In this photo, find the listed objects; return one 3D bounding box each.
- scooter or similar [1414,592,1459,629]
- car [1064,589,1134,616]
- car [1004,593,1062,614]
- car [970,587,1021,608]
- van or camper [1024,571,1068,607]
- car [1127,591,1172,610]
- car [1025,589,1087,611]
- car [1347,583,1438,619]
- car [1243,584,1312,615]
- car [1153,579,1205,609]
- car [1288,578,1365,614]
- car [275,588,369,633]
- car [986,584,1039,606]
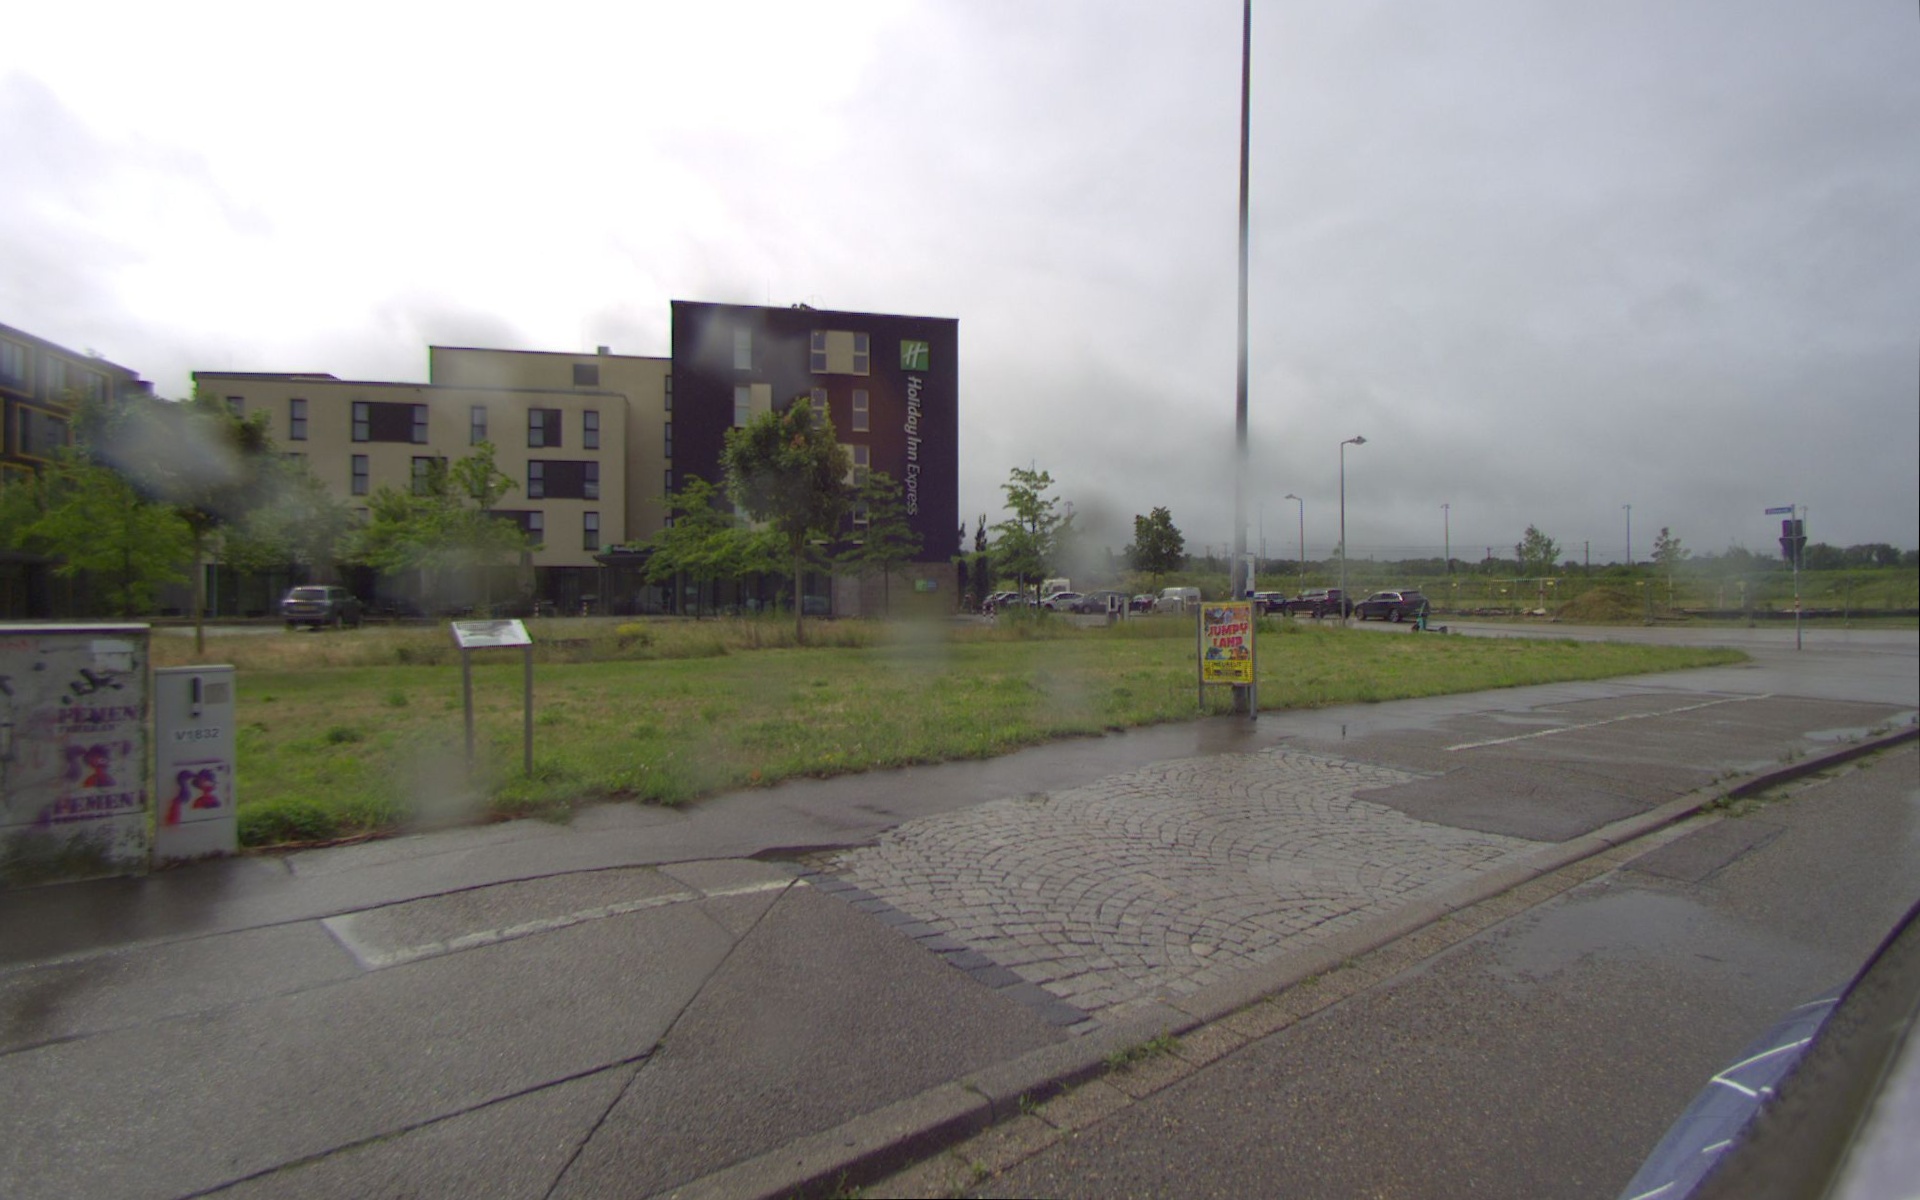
[{"bbox_3d":[16.316,0.345,34.657,0.494,1.202,1.281,2,0,-43],"label":"scooter or similar"},{"bbox_3d":[8.419,0.143,61.255,3.761,1.548,1.788,0,-3,-15],"label":"car"},{"bbox_3d":[5.261,0.228,73.155,3.761,1.414,1.788,0,-3,-15],"label":"car"},{"bbox_3d":[2.897,-0.192,82.844,3.761,1.637,1.788,0,-3,-15],"label":"car"},{"bbox_3d":[8.719,-1.107,103.324,2.477,3.244,6.810,0,-3,-13],"label":"van or camper"},{"bbox_3d":[14.626,0.031,78.314,1.958,1.432,4.007,0,-1,-14],"label":"car"},{"bbox_3d":[6.469,-0.004,68.481,3.728,1.414,1.771,0,-3,-15],"label":"car"},{"bbox_3d":[21.454,0.017,50.397,1.958,1.638,4.008,-3,1,-17],"label":"car"},{"bbox_3d":[18.977,-0.003,60.638,1.958,1.663,4.006,0,-3,-18],"label":"car"},{"bbox_3d":[15.846,-0.374,73.552,1.958,1.796,4.342,0,-5,-13],"label":"car"},{"bbox_3d":[20.305,-0.205,56.220,1.958,1.751,4.006,0,-3,-18],"label":"car"},{"bbox_3d":[-24.711,0.367,39.380,1.632,1.577,4.227,0,1,-10],"label":"car"},{"bbox_3d":[4.141,-0.365,79.716,3.761,1.637,1.788,0,-3,-15],"label":"car"}]
